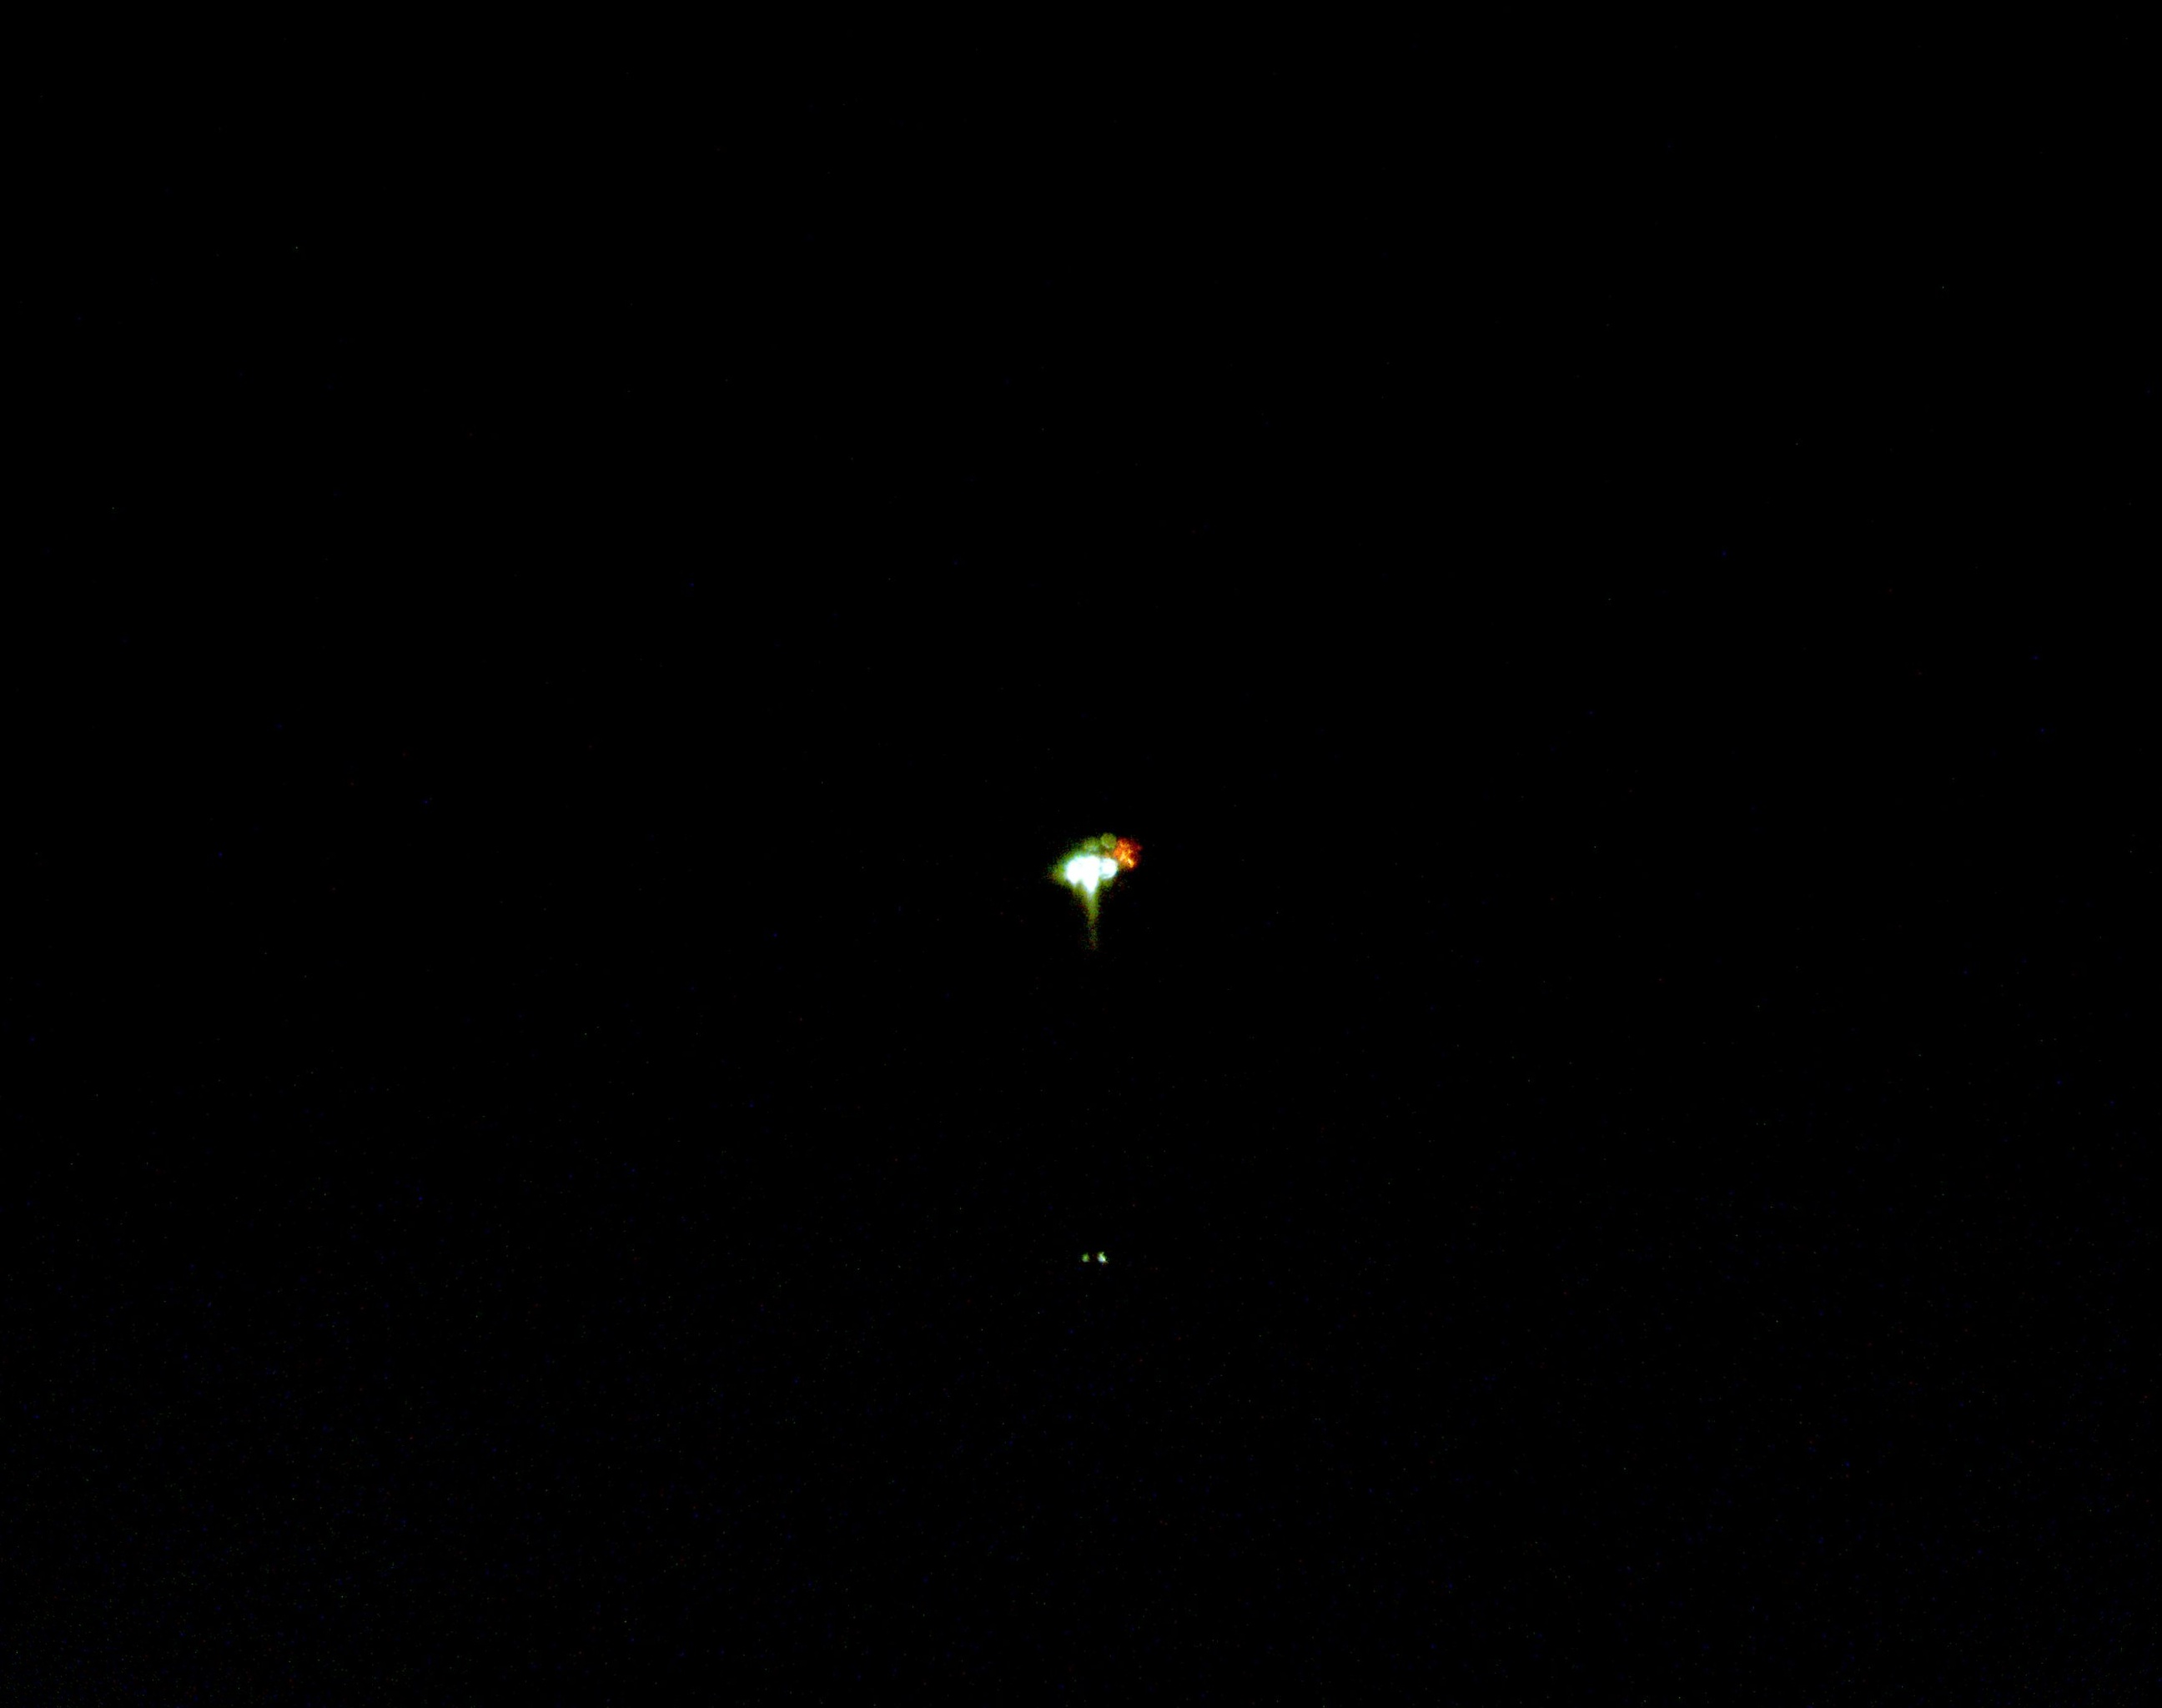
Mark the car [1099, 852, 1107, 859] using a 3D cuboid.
[{"bbox_3d":[6.569,0.446,226.301,2.112,1.702,4.000,-3,1,1],"label":"car"}]

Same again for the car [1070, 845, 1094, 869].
[{"bbox_3d":[0.145,0.225,67.445,1.998,2.002,4.000,-2,1,1],"label":"car"}]

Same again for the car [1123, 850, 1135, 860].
[{"bbox_3d":[9.750,0.206,155.041,1.999,1.849,4.441,-3,1,0],"label":"car"}]

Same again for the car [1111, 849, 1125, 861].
[{"bbox_3d":[5.852,0.189,120.543,1.951,1.718,3.999,-3,1,1],"label":"car"}]
